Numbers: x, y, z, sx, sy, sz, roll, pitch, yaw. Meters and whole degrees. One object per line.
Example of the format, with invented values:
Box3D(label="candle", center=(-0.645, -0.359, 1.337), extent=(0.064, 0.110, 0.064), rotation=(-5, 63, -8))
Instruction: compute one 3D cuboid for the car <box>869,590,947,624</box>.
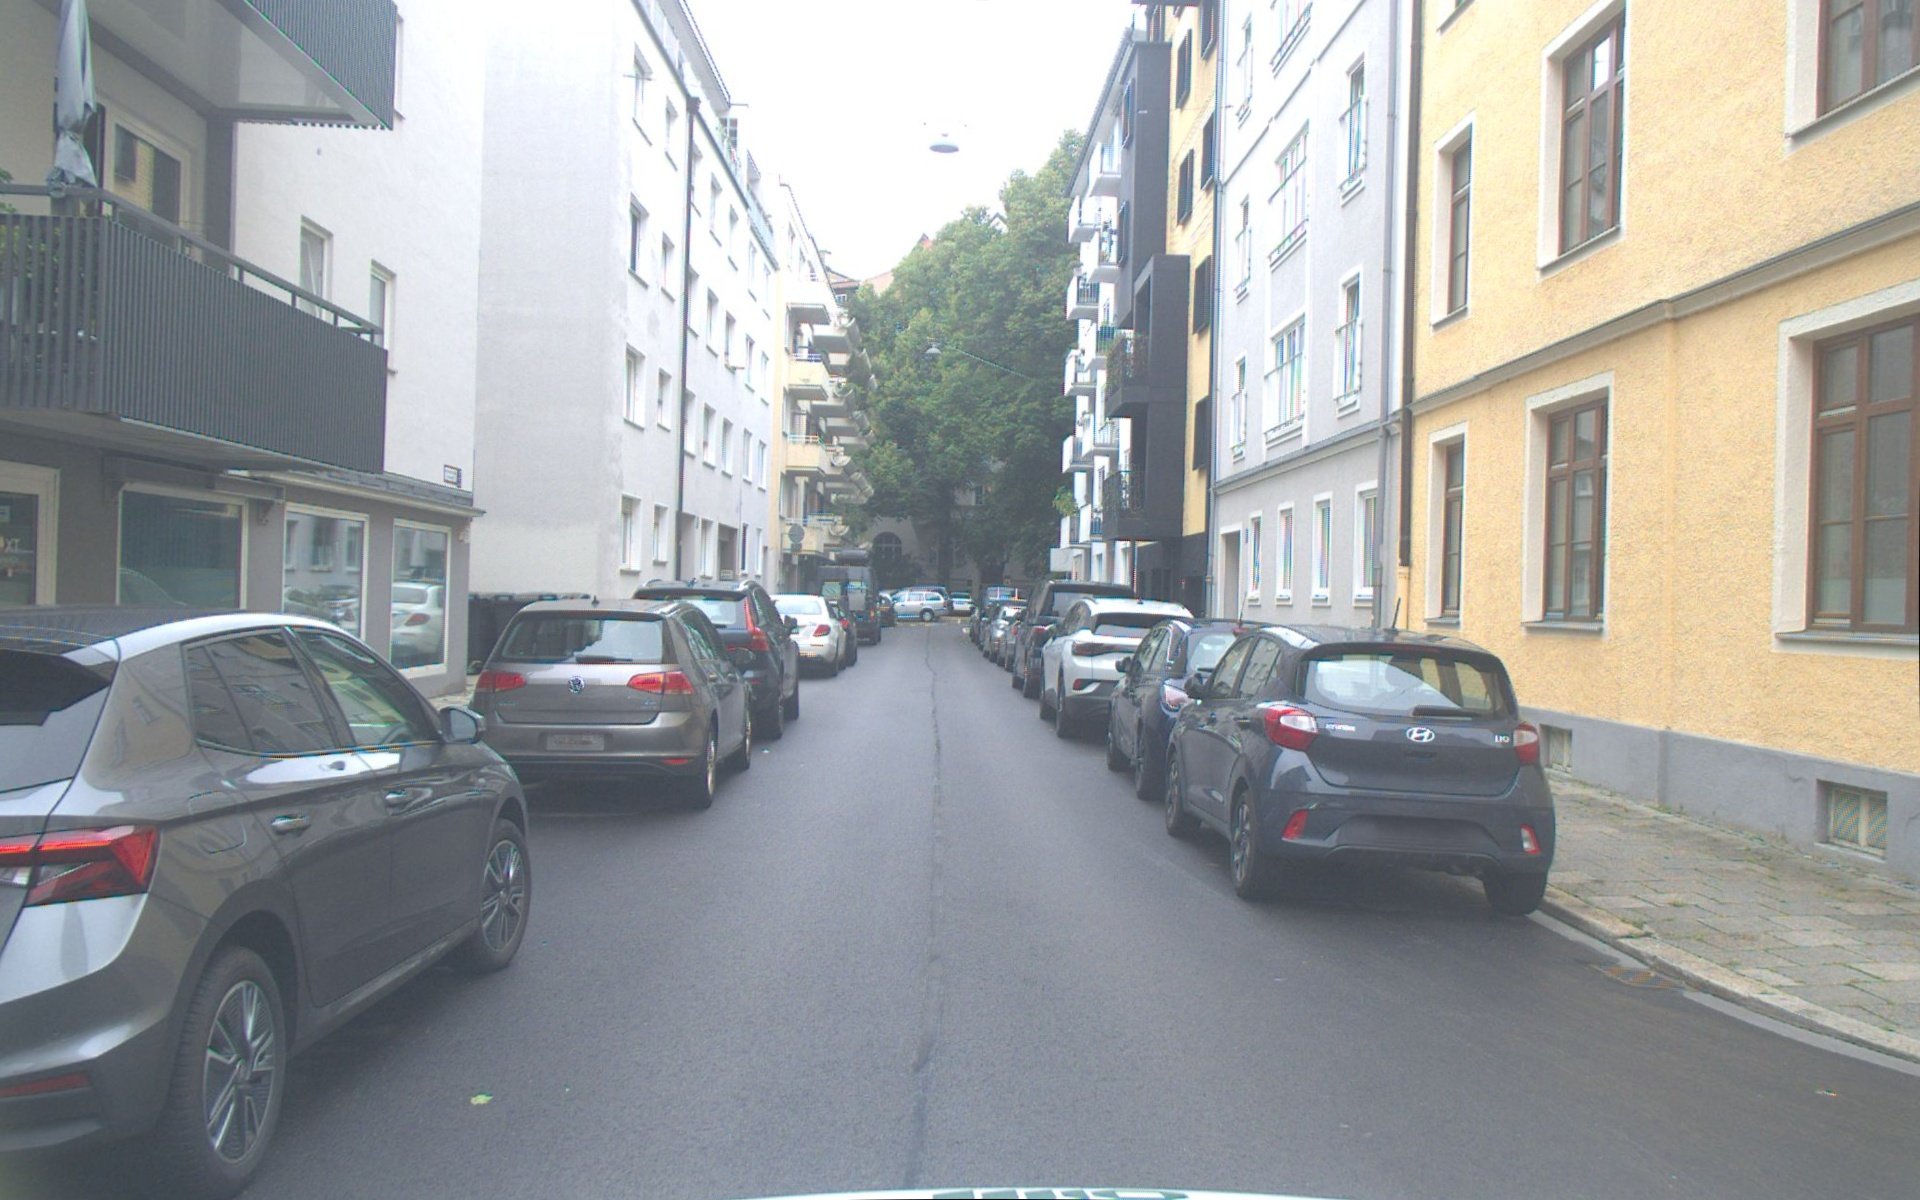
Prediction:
Box3D(label="car", center=(-2.598, 0.327, 82.257), extent=(3.808, 1.612, 1.647), rotation=(-1, 0, -3))

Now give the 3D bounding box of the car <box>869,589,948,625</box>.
Box3D(label="car", center=(-2.502, 0.336, 80.316), extent=(3.808, 1.612, 1.647), rotation=(-1, 0, -3))

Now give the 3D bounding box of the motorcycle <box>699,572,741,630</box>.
Box3D(label="motorcycle", center=(-6.038, 0.020, 41.713), extent=(0.666, 1.374, 2.486), rotation=(2, 0, 0))

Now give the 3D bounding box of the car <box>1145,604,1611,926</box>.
Box3D(label="car", center=(2.397, 0.857, 10.678), extent=(1.716, 1.494, 4.341), rotation=(4, 0, -2))

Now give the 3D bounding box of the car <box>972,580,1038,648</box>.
Box3D(label="car", center=(1.441, 0.435, 54.675), extent=(1.793, 2.034, 4.414), rotation=(4, 0, -2))

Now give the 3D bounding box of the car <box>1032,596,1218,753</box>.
Box3D(label="car", center=(1.916, 0.820, 20.472), extent=(1.648, 1.594, 4.414), rotation=(4, 0, -2))

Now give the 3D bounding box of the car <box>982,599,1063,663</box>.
Box3D(label="car", center=(1.648, 0.800, 44.886), extent=(1.793, 1.479, 4.414), rotation=(5, 0, -2))

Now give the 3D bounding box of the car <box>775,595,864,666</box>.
Box3D(label="car", center=(-3.088, 0.636, 37.075), extent=(1.741, 1.478, 4.045), rotation=(-1, 0, -2))

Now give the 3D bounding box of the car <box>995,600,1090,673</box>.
Box3D(label="car", center=(1.895, 0.816, 39.028), extent=(1.793, 1.479, 4.414), rotation=(5, 0, -2))

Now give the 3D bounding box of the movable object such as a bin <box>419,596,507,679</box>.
Box3D(label="movable object such as a bin", center=(-8.327, 0.620, 27.756), extent=(1.134, 1.360, 0.993), rotation=(-1, 0, 1))

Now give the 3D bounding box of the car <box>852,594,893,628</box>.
Box3D(label="car", center=(-3.699, 0.448, 70.341), extent=(1.609, 1.408, 3.481), rotation=(-1, 0, -2))

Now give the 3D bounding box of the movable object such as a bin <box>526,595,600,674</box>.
Box3D(label="movable object such as a bin", center=(-6.981, 0.593, 29.098), extent=(1.026, 1.360, 0.993), rotation=(-1, 0, 1))

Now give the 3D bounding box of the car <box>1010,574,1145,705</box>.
Box3D(label="car", center=(1.920, 0.609, 28.169), extent=(1.792, 1.943, 4.414), rotation=(3, 0, -1))

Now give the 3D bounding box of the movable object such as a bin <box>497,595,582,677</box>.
Box3D(label="movable object such as a bin", center=(-7.107, 0.599, 28.018), extent=(1.142, 1.360, 1.025), rotation=(-1, 0, 1))

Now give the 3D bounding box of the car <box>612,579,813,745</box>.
Box3D(label="car", center=(-2.686, 0.615, 18.848), extent=(1.741, 1.658, 4.413), rotation=(0, 0, -2))

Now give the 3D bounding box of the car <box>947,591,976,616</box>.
Box3D(label="car", center=(0.081, 0.177, 97.320), extent=(1.609, 1.408, 3.744), rotation=(-1, 0, -2))

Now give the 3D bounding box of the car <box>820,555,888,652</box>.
Box3D(label="car", center=(-3.269, 0.100, 51.657), extent=(1.897, 2.851, 4.531), rotation=(-1, 0, -2))

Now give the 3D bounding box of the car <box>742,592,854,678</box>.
Box3D(label="car", center=(-3.055, 0.622, 31.925), extent=(1.740, 1.513, 4.518), rotation=(-1, 0, -1))

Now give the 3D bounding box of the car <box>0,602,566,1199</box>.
Box3D(label="car", center=(-2.560, 0.758, 5.354), extent=(1.658, 1.467, 3.941), rotation=(0, 0, -1))

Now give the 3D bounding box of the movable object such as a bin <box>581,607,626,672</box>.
Box3D(label="movable object such as a bin", center=(-6.032, 0.667, 27.974), extent=(0.638, 1.038, 0.584), rotation=(3, 0, -8))

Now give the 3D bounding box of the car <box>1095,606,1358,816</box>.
Box3D(label="car", center=(2.251, 0.880, 14.907), extent=(1.630, 1.494, 3.818), rotation=(4, 0, -1))

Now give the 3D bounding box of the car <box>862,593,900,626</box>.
Box3D(label="car", center=(-3.514, 0.423, 74.246), extent=(1.609, 1.408, 3.481), rotation=(-1, 0, -2))

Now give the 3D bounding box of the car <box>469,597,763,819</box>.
Box3D(label="car", center=(-2.540, 0.725, 13.081), extent=(1.659, 1.467, 3.975), rotation=(0, 0, -3))
